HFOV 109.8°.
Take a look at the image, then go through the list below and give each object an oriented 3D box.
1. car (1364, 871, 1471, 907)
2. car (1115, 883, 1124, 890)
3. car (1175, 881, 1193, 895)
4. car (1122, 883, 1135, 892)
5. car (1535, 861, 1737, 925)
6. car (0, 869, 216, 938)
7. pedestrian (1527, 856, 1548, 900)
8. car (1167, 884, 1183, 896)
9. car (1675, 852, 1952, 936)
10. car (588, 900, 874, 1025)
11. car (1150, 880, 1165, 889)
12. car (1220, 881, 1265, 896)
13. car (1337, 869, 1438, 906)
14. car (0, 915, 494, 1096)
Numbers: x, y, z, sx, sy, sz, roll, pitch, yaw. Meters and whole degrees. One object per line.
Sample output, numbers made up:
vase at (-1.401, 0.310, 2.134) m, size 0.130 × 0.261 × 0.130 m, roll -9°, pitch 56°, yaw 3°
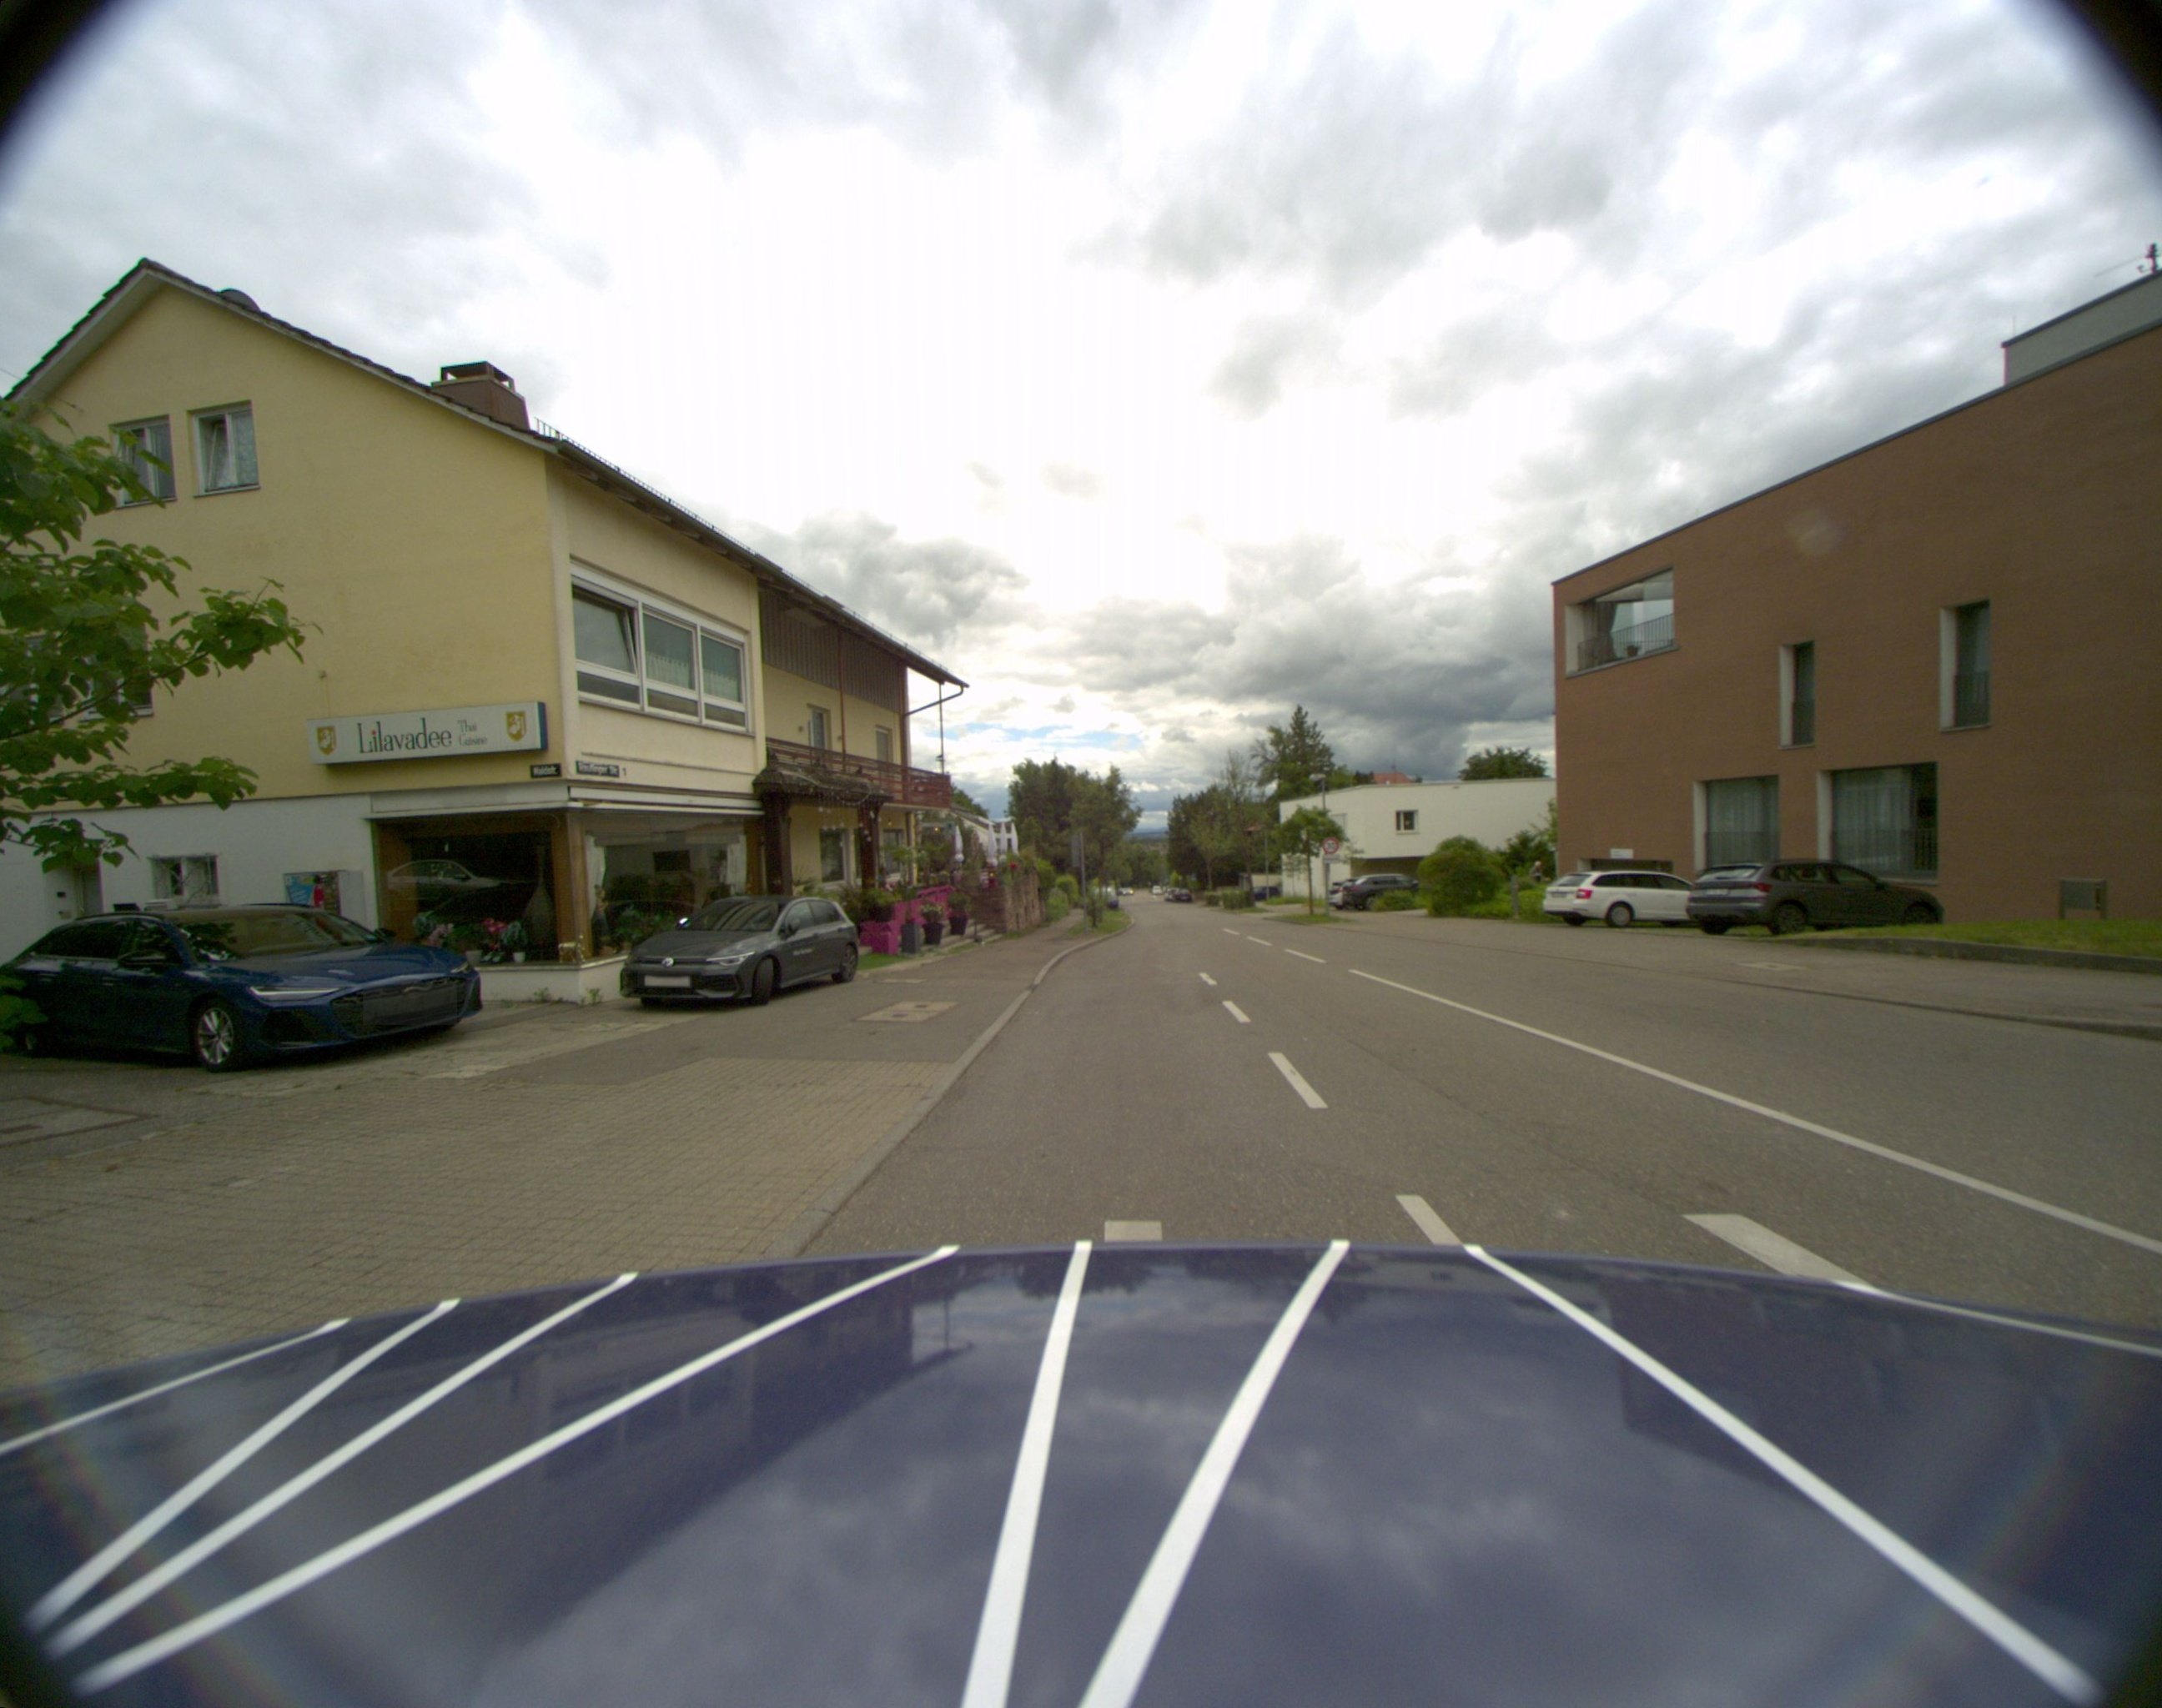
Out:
car at (14.972, 1.561, 33.965) m, size 3.996 × 1.476 × 1.728 m, roll -2°, pitch -2°, yaw 2°
car at (9.251, 7.817, 181.833) m, size 1.884 × 1.412 × 4.368 m, roll -1°, pitch -1°, yaw 0°
car at (10.748, 3.573, 79.451) m, size 1.661 × 1.412 × 4.003 m, roll -2°, pitch -3°, yaw 5°
car at (8.588, 6.060, 137.424) m, size 1.884 × 1.412 × 4.368 m, roll -1°, pitch -1°, yaw 0°
car at (14.238, 0.993, 19.625) m, size 3.998 × 1.476 × 1.727 m, roll -1°, pitch -2°, yaw -4°
car at (-23.011, 1.112, 17.062) m, size 1.795 × 1.452 × 4.336 m, roll -2°, pitch -4°, yaw 21°
pedestrian at (20.273, 1.066, 33.743) m, size 0.597 × 1.896 × 0.558 m, roll -1°, pitch 0°, yaw 1°
car at (10.917, 4.177, 88.439) m, size 1.661 × 1.412 × 4.371 m, roll -2°, pitch -3°, yaw 5°
car at (14.612, 0.795, 15.298) m, size 3.998 × 1.476 × 1.727 m, roll -1°, pitch -2°, yaw -4°
car at (-4.773, 1.425, 11.200) m, size 1.797 × 1.452 × 4.332 m, roll -1°, pitch -3°, yaw 7°
car at (13.777, 5.493, 136.893) m, size 1.884 × 1.412 × 4.367 m, roll -1°, pitch -1°, yaw -3°
car at (15.428, 3.274, 72.655) m, size 3.995 × 1.278 × 1.664 m, roll -2°, pitch -2°, yaw 6°
car at (14.397, 1.591, 35.856) m, size 3.996 × 1.585 × 1.794 m, roll -2°, pitch -2°, yaw 2°
car at (-8.700, 1.380, 7.793) m, size 4.739 × 1.379 × 1.802 m, roll -2°, pitch -1°, yaw 17°
